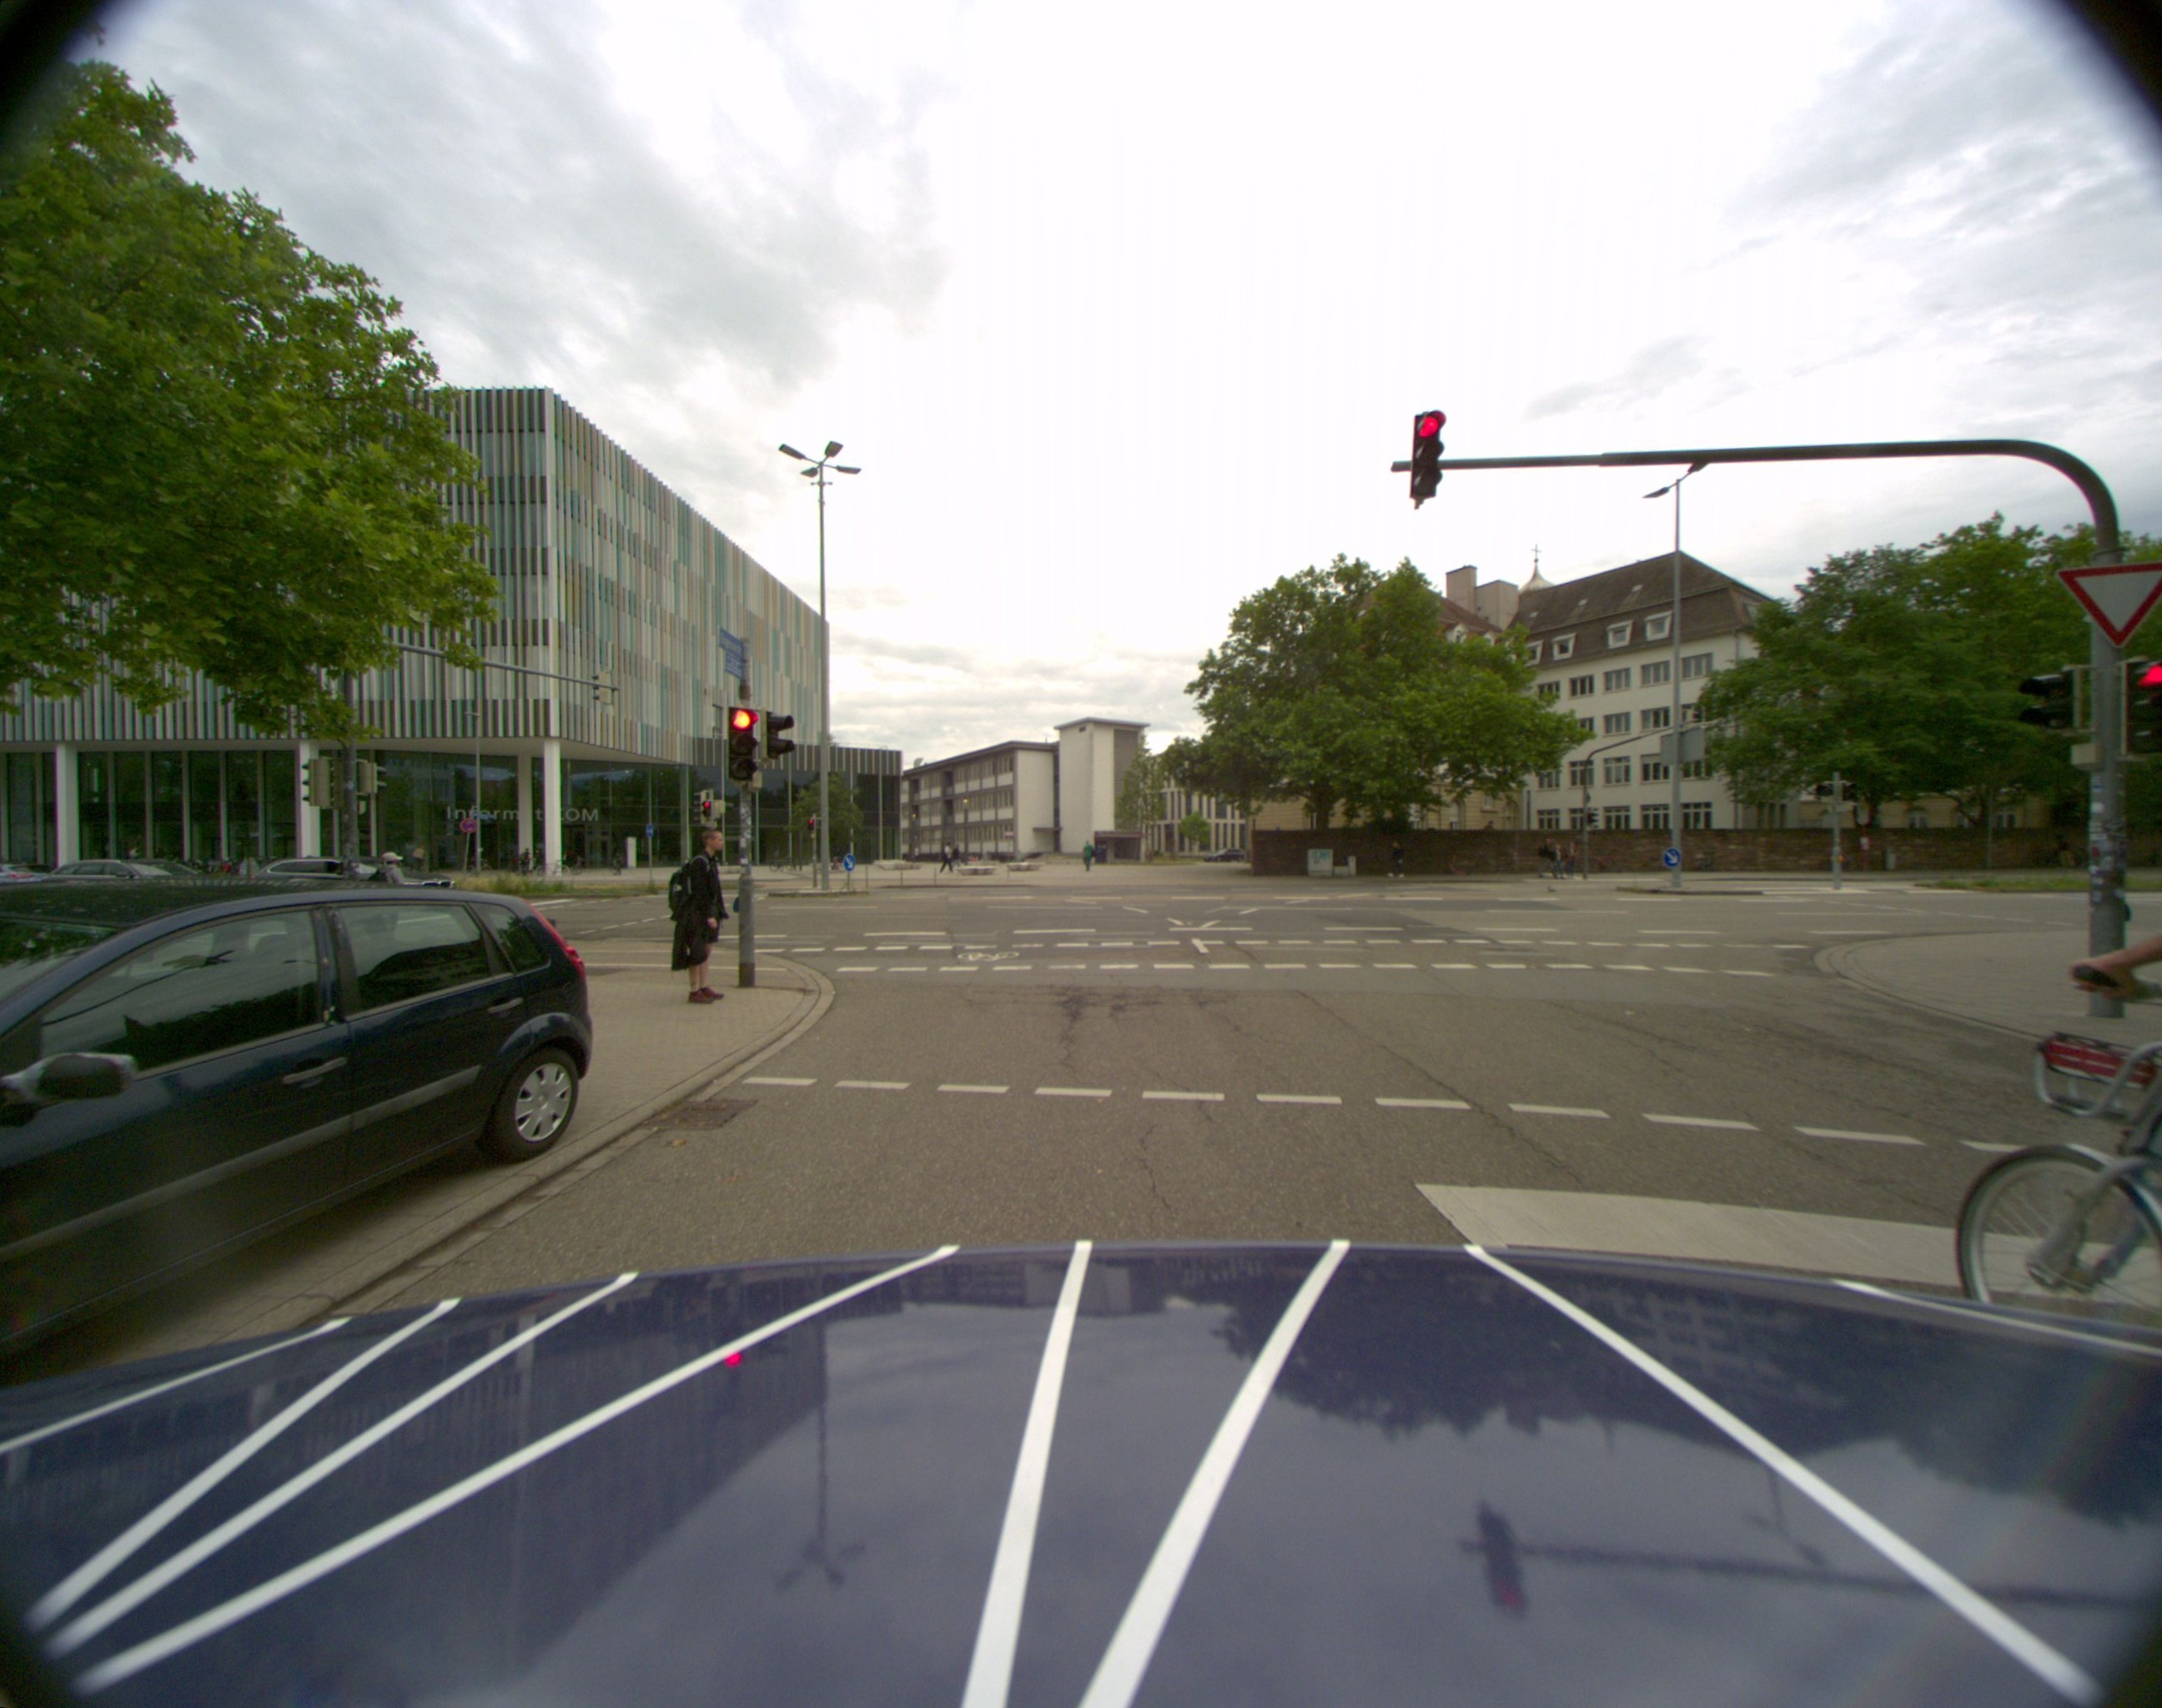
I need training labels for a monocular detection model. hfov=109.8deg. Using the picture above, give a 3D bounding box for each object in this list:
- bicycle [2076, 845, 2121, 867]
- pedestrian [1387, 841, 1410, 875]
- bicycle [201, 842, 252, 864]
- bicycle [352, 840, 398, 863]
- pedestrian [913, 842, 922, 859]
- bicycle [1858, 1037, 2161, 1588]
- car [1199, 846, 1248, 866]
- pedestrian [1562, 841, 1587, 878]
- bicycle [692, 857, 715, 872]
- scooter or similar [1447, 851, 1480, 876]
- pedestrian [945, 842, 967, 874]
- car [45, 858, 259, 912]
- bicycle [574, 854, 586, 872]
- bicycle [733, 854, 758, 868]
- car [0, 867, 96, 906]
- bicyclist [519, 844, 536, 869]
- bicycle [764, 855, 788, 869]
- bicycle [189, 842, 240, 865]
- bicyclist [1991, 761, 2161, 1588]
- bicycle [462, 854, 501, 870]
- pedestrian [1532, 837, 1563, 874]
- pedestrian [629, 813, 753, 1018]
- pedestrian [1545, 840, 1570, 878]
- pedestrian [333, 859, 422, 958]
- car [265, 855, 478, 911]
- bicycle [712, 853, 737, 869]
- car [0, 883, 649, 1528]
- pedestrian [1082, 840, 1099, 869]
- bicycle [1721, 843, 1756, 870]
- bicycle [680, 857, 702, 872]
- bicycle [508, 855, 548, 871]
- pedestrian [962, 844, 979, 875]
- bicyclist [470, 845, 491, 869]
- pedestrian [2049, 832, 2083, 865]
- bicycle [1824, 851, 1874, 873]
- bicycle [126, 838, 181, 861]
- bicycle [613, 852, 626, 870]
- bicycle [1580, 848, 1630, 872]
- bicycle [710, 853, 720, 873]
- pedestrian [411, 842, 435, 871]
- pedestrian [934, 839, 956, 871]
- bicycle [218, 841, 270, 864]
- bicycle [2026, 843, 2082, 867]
[{"bbox_3d":[56.165,0.098,41.938,2.248,1.142,0.507,0,3,-11],"label":"bicycle"},{"bbox_3d":[15.486,0.197,37.058,0.808,1.655,0.791,0,2,2],"label":"pedestrian"},{"bbox_3d":[-50.521,-0.044,44.957,0.628,1.251,2.105,-1,-2,0],"label":"bicycle"},{"bbox_3d":[-41.501,-0.110,44.694,0.628,1.251,2.106,-1,-2,6],"label":"bicycle"},{"bbox_3d":[-18.180,-0.391,84.690,0.777,1.779,0.759,-1,1,-32],"label":"pedestrian"},{"bbox_3d":[2.663,1.077,1.358,0.659,1.031,1.857,0,1,1],"label":"bicycle"},{"bbox_3d":[14.270,0.202,76.046,4.409,1.570,1.998,-2,-9,-32],"label":"car"},{"bbox_3d":[23.092,0.241,35.554,0.642,1.684,0.779,0,2,-1],"label":"pedestrian"},{"bbox_3d":[-24.201,0.652,48.693,2.004,0.930,0.550,0,1,41],"label":"bicycle"},{"bbox_3d":[19.192,0.472,38.158,1.410,1.223,0.496,1,3,20],"label":"scooter or similar"},{"bbox_3d":[-7.128,0.205,43.308,0.848,1.778,0.892,-1,1,-41],"label":"pedestrian"},{"bbox_3d":[-27.468,0.882,22.569,3.996,1.445,2.000,-1,1,4],"label":"car"},{"bbox_3d":[-31.071,0.555,47.116,0.485,1.039,1.911,-1,1,-37],"label":"bicycle"},{"bbox_3d":[-22.092,0.455,50.041,2.004,0.931,0.485,1,2,33],"label":"bicycle"},{"bbox_3d":[-41.123,1.237,29.051,4.225,1.459,2.000,0,-1,-2],"label":"car"},{"bbox_3d":[-32.411,0.134,44.487,0.483,1.460,0.606,0,1,19],"label":"bicyclist"},{"bbox_3d":[-20.758,0.525,51.717,2.004,0.931,0.485,1,2,33],"label":"bicycle"},{"bbox_3d":[-51.186,-0.031,44.916,0.628,1.251,2.105,-1,-2,0],"label":"bicycle"},{"bbox_3d":[2.663,0.690,1.434,0.659,1.769,0.983,0,1,-6],"label":"bicyclist"},{"bbox_3d":[-34.514,0.464,43.739,1.913,0.920,0.620,0,1,11],"label":"bicycle"},{"bbox_3d":[22.487,0.056,36.626,1.006,1.779,0.757,0,2,0],"label":"pedestrian"},{"bbox_3d":[-3.931,0.581,7.686,0.791,1.941,0.759,0,1,26],"label":"pedestrian"},{"bbox_3d":[22.368,0.227,35.658,0.670,1.729,0.735,0,2,-1],"label":"pedestrian"},{"bbox_3d":[-12.033,0.909,13.015,0.756,1.617,0.794,0,1,15],"label":"pedestrian"},{"bbox_3d":[-20.519,0.814,22.132,4.288,1.481,2.000,-1,2,1],"label":"car"},{"bbox_3d":[-23.064,0.446,49.102,2.004,0.931,0.485,1,2,33],"label":"bicycle"},{"bbox_3d":[-3.599,0.986,2.719,1.626,1.493,4.105,2,1,2],"label":"car"},{"bbox_3d":[0.569,0.025,44.463,0.905,1.704,0.951,0,1,4],"label":"pedestrian"},{"bbox_3d":[34.229,0.098,39.557,2.590,1.372,0.668,-1,1,-33],"label":"bicycle"},{"bbox_3d":[-24.738,0.647,48.181,2.004,0.930,0.485,0,1,41],"label":"bicycle"},{"bbox_3d":[-32.396,0.520,44.553,0.483,0.920,1.919,0,1,19],"label":"bicycle"},{"bbox_3d":[-5.955,0.311,41.070,0.619,1.656,0.623,-2,1,-45],"label":"pedestrian"},{"bbox_3d":[-34.566,0.144,43.749,0.717,1.374,0.619,0,1,10],"label":"bicyclist"},{"bbox_3d":[52.318,-0.313,40.366,0.773,1.750,0.790,0,2,-11],"label":"pedestrian"},{"bbox_3d":[39.841,0.408,39.427,2.156,1.142,0.664,0,3,-9],"label":"bicycle"},{"bbox_3d":[-54.417,-0.250,44.620,0.628,1.251,2.105,-1,-2,0],"label":"bicycle"},{"bbox_3d":[-28.021,0.409,46.116,0.485,1.039,1.911,-1,2,-37],"label":"bicycle"},{"bbox_3d":[26.390,0.317,38.273,2.156,1.178,0.582,0,3,-7],"label":"bicycle"},{"bbox_3d":[-20.334,0.491,42.208,0.484,1.039,1.779,-1,2,-27],"label":"bicycle"},{"bbox_3d":[-41.295,0.168,47.661,0.762,1.778,0.802,1,2,3],"label":"pedestrian"},{"bbox_3d":[-7.661,0.046,42.857,0.848,1.778,0.892,-1,1,-41],"label":"pedestrian"},{"bbox_3d":[-49.563,-0.063,45.025,0.628,1.251,2.106,-1,-2,6],"label":"bicycle"},{"bbox_3d":[52.432,0.036,40.935,2.543,1.258,0.664,0,3,-9],"label":"bicycle"}]
